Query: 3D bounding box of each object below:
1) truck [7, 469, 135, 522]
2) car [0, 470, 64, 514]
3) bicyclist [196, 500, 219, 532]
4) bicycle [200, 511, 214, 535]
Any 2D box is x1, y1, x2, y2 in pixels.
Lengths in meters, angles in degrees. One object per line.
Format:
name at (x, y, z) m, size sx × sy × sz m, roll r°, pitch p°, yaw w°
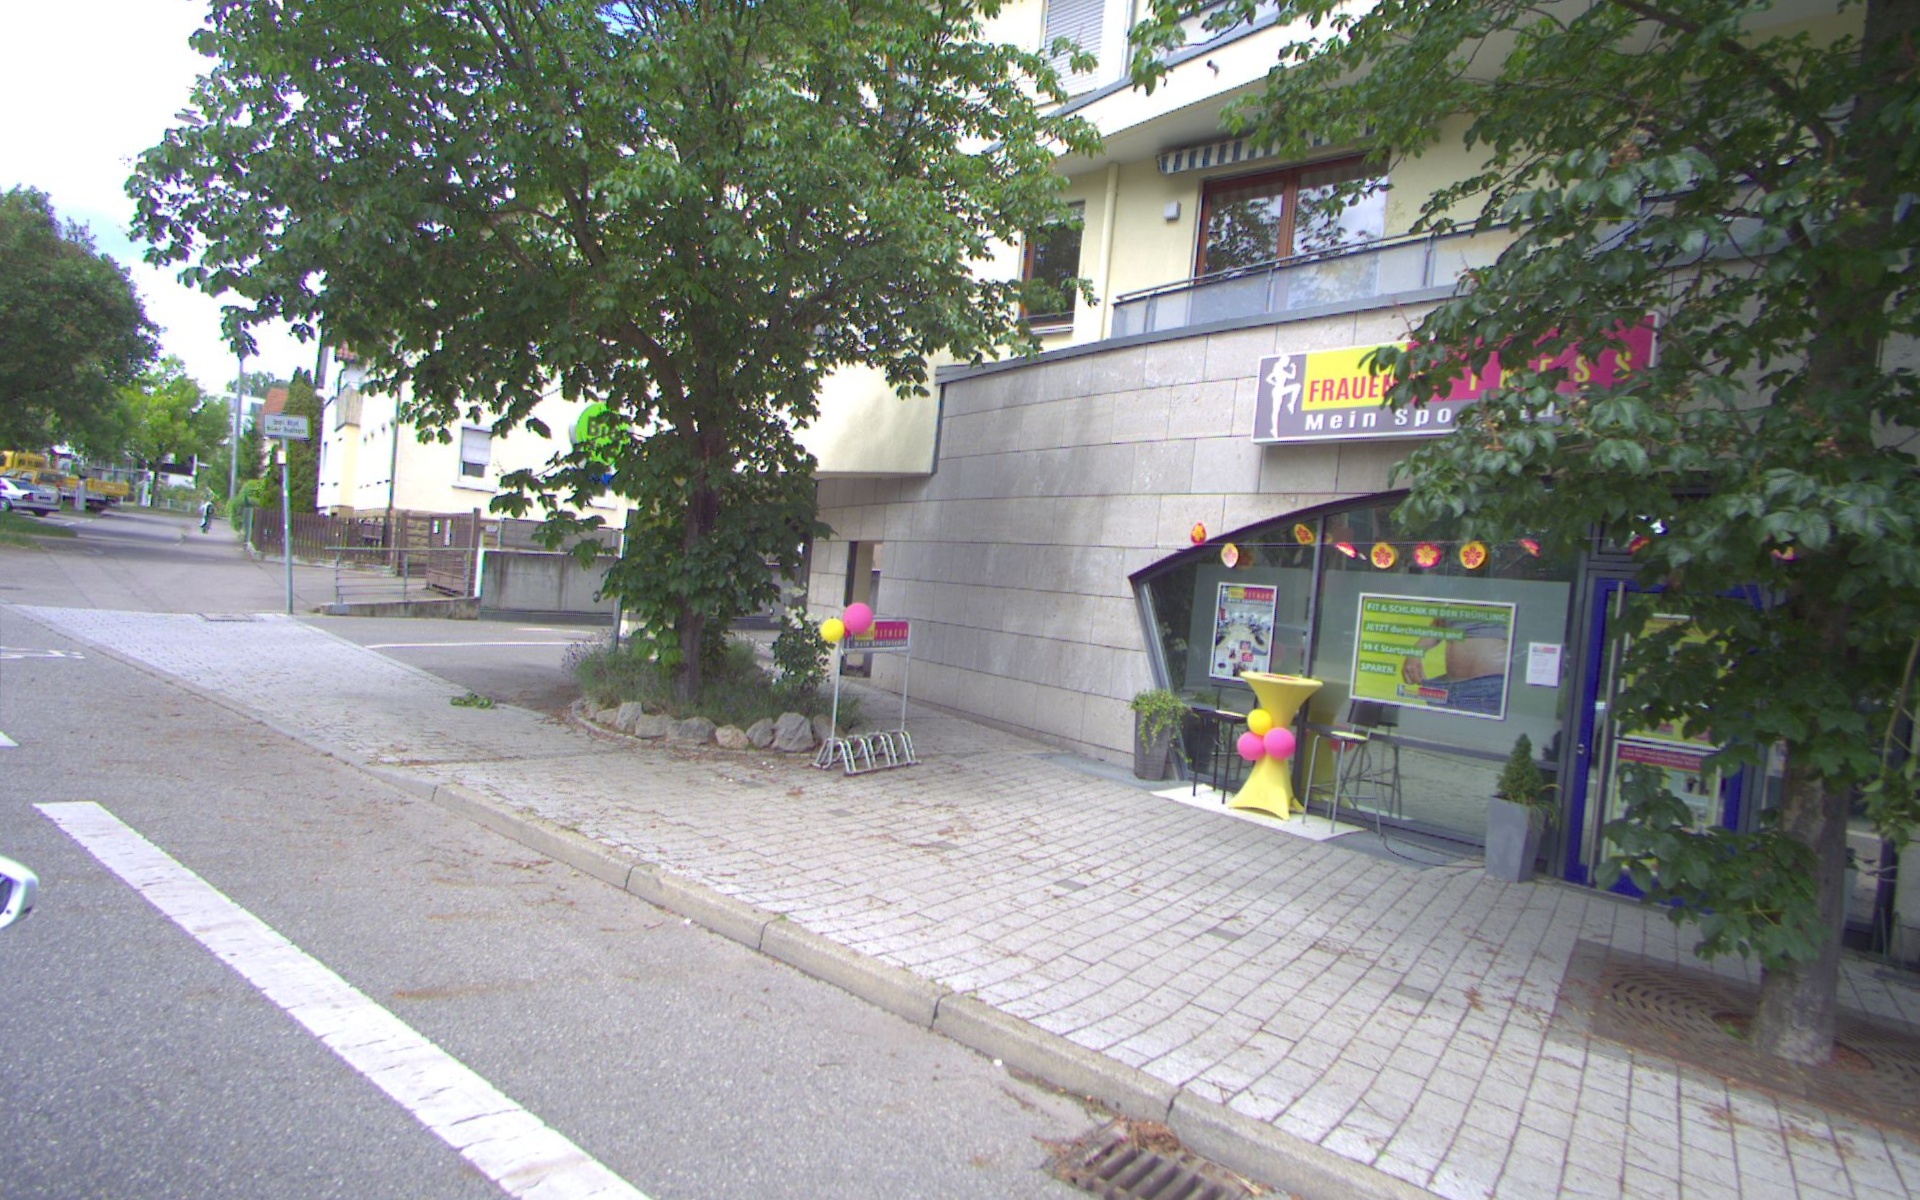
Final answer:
truck at (-49.181, -5.743, 55.865) m, size 2.050 × 2.038 × 5.615 m, roll 6°, pitch -1°, yaw -1°
car at (-53.859, -6.212, 57.612) m, size 1.712 × 2.038 × 3.765 m, roll 6°, pitch -1°, yaw -5°
bicyclist at (-35.491, -3.951, 47.435) m, size 0.774 × 1.417 × 0.695 m, roll 6°, pitch 0°, yaw -38°
bicycle at (-35.612, -3.608, 47.584) m, size 0.459 × 1.047 × 2.736 m, roll 6°, pitch 0°, yaw -37°
